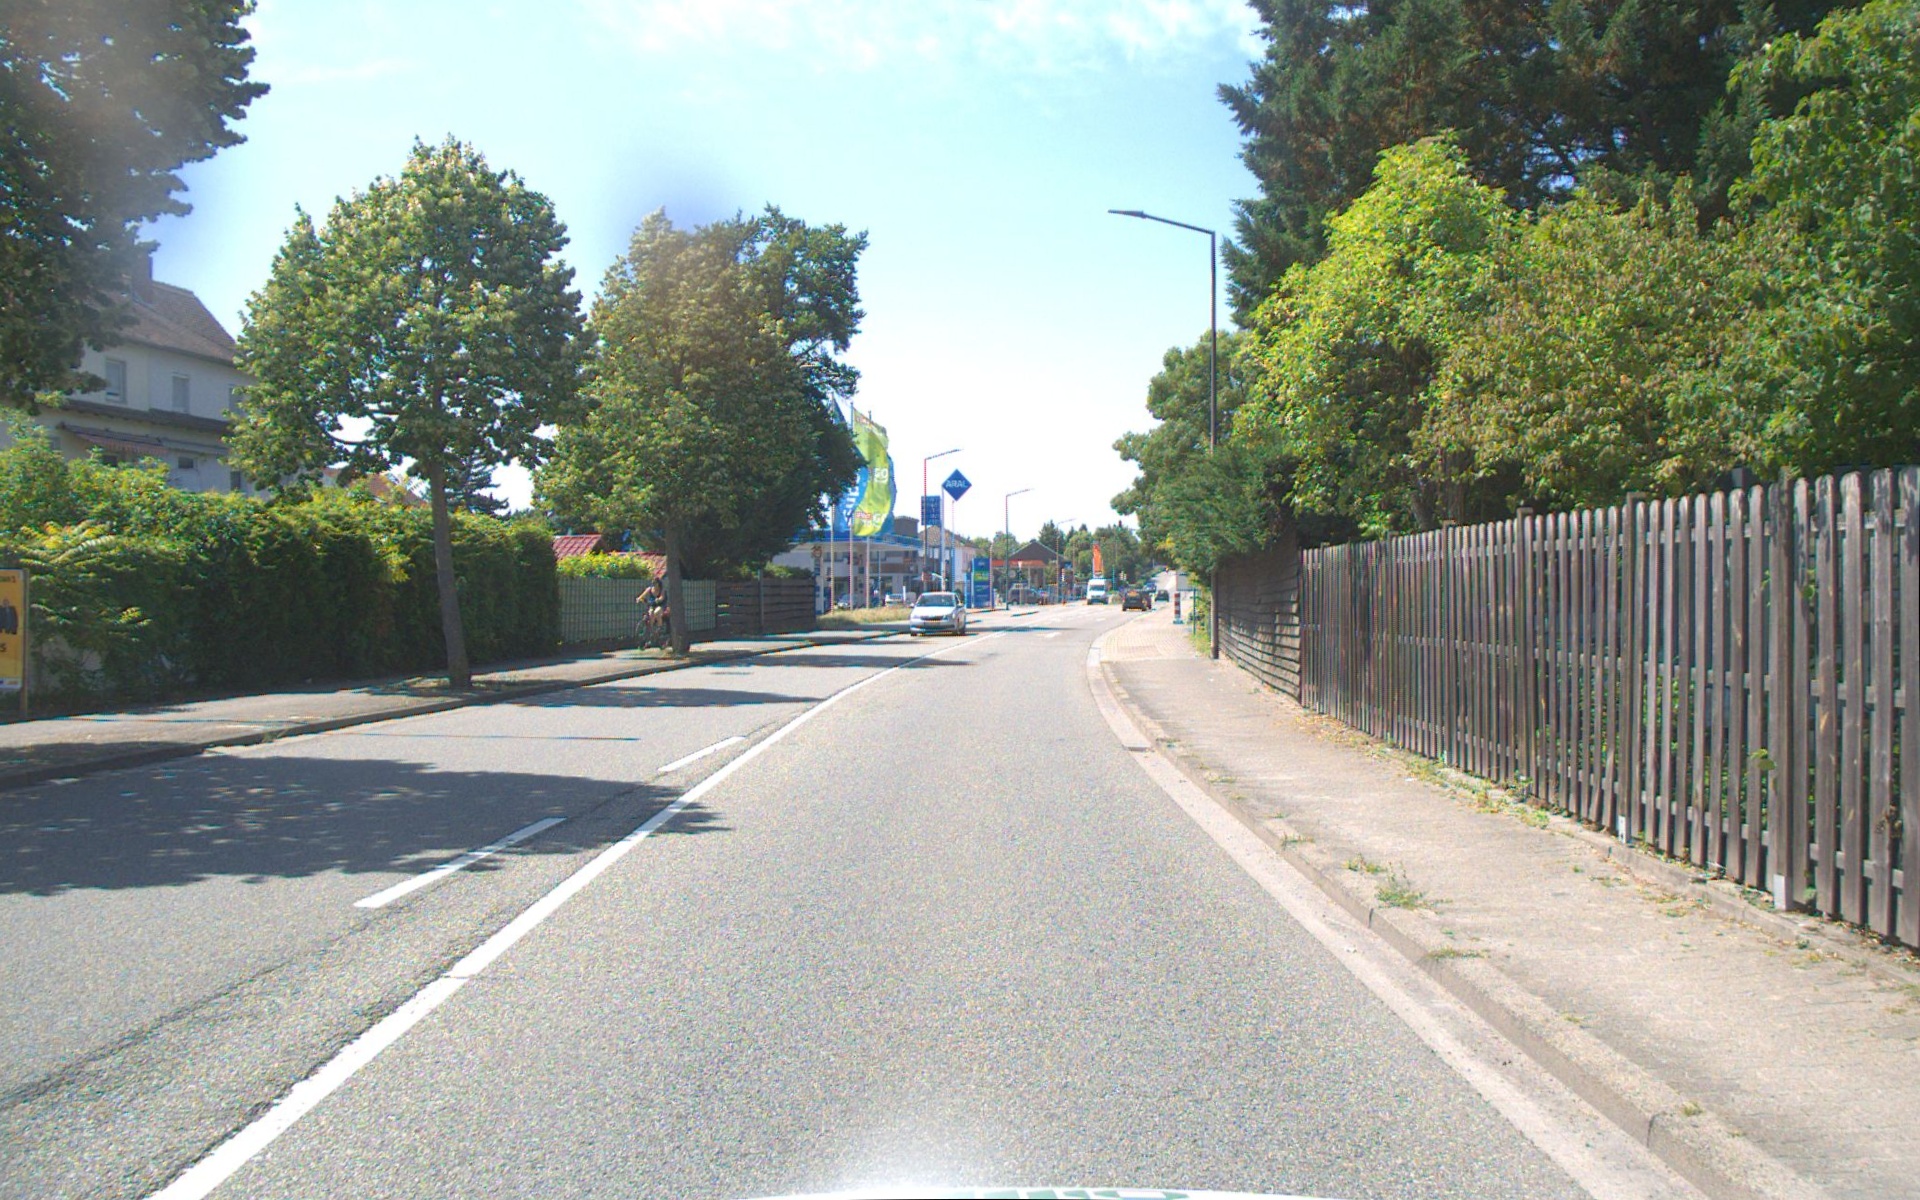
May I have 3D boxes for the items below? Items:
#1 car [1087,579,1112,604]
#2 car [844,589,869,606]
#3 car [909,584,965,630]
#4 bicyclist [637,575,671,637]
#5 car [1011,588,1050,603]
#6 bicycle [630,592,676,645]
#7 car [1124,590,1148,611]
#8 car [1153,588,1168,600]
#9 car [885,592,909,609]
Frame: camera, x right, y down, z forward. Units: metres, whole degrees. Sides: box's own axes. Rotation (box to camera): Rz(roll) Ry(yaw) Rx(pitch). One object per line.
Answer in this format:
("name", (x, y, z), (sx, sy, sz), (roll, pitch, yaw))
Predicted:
("car", (14.640, -0.886, 173.359), (1.951, 2.465, 5.952), (1, -1, 10))
("car", (-8.796, -0.206, 140.468), (1.583, 1.445, 3.713), (-2, 0, 4))
("car", (-0.757, 0.223, 56.929), (1.578, 1.508, 3.709), (0, 0, 4))
("bicyclist", (-7.123, 0.130, 38.526), (0.615, 1.433, 0.677), (0, 0, 4))
("car", (7.256, -0.428, 169.789), (3.903, 1.534, 1.556), (0, 0, 5))
("bicycle", (-7.125, 0.423, 38.487), (0.619, 1.201, 1.817), (0, 0, 4))
("car", (12.655, 0.008, 118.691), (1.630, 1.481, 3.475), (0, 0, 8))
("car", (24.107, -0.725, 198.707), (1.630, 1.481, 3.475), (0, 0, 8))
("car", (-5.364, 0.042, 140.622), (1.583, 1.445, 3.713), (-2, 0, 4))
